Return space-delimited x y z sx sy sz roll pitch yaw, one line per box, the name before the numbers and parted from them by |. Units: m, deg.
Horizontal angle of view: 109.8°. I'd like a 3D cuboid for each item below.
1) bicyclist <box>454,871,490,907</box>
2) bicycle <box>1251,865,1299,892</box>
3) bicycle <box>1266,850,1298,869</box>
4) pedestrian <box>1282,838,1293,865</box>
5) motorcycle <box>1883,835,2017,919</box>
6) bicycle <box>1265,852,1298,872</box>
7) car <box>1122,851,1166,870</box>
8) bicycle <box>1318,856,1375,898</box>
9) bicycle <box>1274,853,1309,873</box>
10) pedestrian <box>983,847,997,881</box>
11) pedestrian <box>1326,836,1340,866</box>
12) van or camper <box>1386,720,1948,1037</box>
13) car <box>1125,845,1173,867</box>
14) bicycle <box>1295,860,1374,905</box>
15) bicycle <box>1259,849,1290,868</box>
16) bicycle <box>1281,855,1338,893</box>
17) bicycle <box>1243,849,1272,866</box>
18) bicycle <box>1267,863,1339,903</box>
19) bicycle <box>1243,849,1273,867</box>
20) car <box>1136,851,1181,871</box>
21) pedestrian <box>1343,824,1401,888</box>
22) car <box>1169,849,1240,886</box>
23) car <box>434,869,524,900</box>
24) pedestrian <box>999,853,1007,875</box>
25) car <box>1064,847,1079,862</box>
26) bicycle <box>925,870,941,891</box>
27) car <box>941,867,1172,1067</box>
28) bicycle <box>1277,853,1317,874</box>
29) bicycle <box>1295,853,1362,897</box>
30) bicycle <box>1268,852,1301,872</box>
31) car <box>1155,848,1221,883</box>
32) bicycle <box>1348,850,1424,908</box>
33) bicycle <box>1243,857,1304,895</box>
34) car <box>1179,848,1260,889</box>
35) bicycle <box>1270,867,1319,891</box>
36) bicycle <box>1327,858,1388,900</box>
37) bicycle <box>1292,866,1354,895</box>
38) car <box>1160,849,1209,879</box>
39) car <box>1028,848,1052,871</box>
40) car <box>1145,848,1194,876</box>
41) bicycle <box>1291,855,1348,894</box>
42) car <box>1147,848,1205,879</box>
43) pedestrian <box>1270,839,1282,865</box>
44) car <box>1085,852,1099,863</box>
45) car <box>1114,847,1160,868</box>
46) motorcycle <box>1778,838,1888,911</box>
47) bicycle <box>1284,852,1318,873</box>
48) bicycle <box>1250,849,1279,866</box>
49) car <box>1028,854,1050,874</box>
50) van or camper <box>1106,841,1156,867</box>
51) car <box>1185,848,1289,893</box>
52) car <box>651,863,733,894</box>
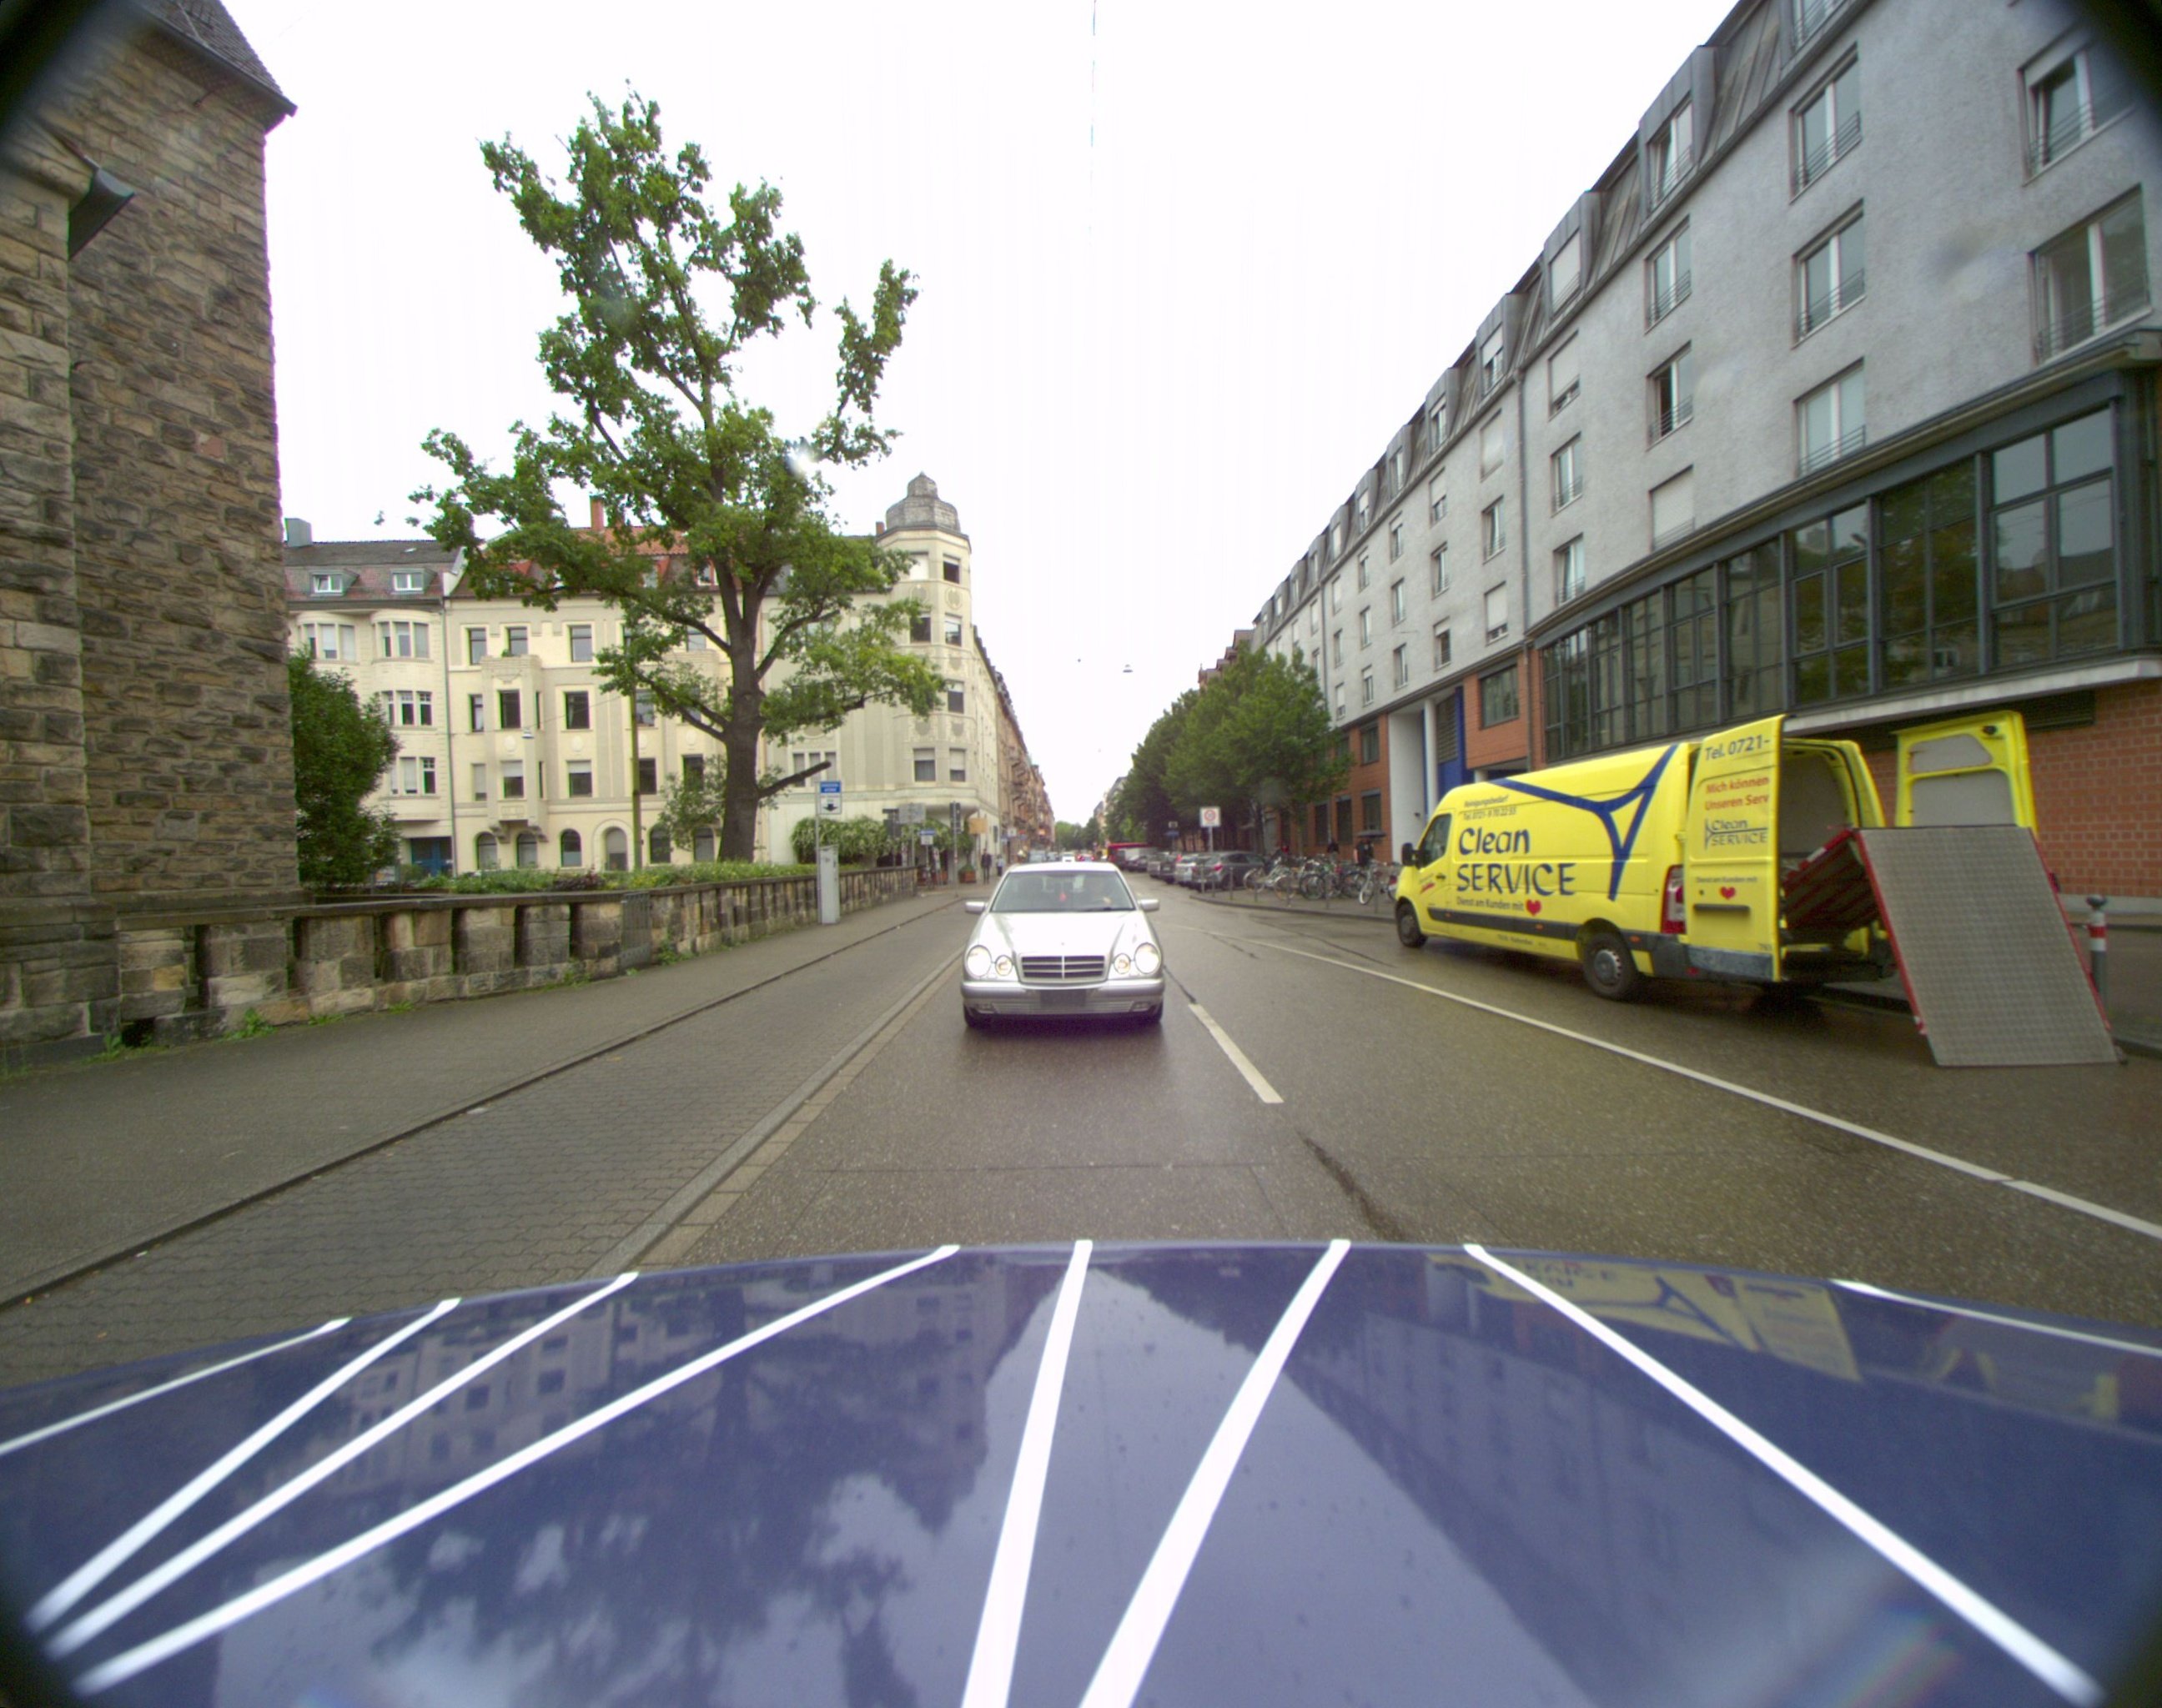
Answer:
bicyclist | -26.979 1.538 33.652 1.133 1.521 0.537 -2 1 3
bicycle | 6.577 0.829 25.758 1.473 0.800 0.497 -3 1 3
bicycle | 10.697 0.276 40.413 1.590 0.979 0.445 -2 1 -8
pedestrian | 12.423 -0.155 45.792 0.514 1.601 0.425 -2 1 1
motorcycle | 13.246 0.312 11.649 0.524 1.174 1.760 -3 0 19
bicycle | 10.487 0.402 39.793 1.590 0.979 0.445 -2 1 -8
car | 5.220 0.539 62.700 1.685 1.482 3.799 0 1 40
bicycle | 7.484 0.649 21.461 1.461 1.096 0.462 -3 1 14
bicycle | 10.494 0.436 37.878 1.590 0.979 0.445 -2 1 -8
pedestrian | -4.989 0.532 41.681 0.646 1.862 0.693 -1 1 0
pedestrian | 13.072 -0.162 39.358 0.516 1.521 0.548 -1 1 -3
van or camper | 6.053 0.191 9.254 2.201 2.596 5.941 -1 0 -1
car | 6.007 0.135 66.930 4.338 1.884 1.685 -1 1 -41
bicycle | 6.721 0.744 20.184 1.858 1.067 0.609 -3 1 5
bicycle | 10.581 0.259 41.577 1.590 0.979 0.465 -2 1 -8
bicycle | 7.265 0.633 24.217 1.610 1.099 0.520 -3 1 -5
bicycle | 10.665 0.185 45.882 1.590 0.979 0.465 -2 1 -8
bicycle | 6.142 0.793 21.021 1.800 0.987 0.520 -3 1 -2
bicycle | 10.228 0.231 43.852 1.590 0.979 0.465 -2 1 -8
car | 6.157 0.507 60.184 1.685 1.482 3.799 0 1 40
pedestrian | 9.166 0.052 23.988 1.228 1.870 1.055 -6 1 0
car | 5.619 0.588 34.365 3.084 1.494 1.449 -3 0 -40
car | -29.418 1.470 37.171 3.270 1.401 1.448 -1 1 3
pedestrian | -5.238 0.694 50.814 0.482 1.452 0.392 -1 1 0
car | -1.329 0.082 107.587 1.998 2.002 4.000 -1 0 1
bicycle | -7.294 1.298 37.448 0.390 0.888 2.023 -1 3 0
car | -0.189 0.921 7.944 1.764 1.420 3.999 -2 0 0
bicycle | 10.622 0.442 37.405 1.851 0.979 0.445 -2 1 -8
bicycle | 7.268 0.600 22.320 1.815 1.187 0.519 -3 1 -13
bicycle | 10.445 0.418 39.001 1.590 0.979 0.445 -2 1 -8
car | 5.259 0.547 37.250 3.084 1.543 1.449 -3 0 -40
bicycle | 7.575 0.593 18.818 1.922 1.209 0.768 -6 3 -35
bicycle | 6.243 0.710 24.693 1.812 1.099 0.472 -3 1 -5
car | 5.809 0.592 31.757 3.083 1.494 1.449 -3 0 -31
bicycle | 7.054 0.824 25.156 1.473 0.717 0.497 -3 1 3
bicycle | 7.511 0.673 20.688 1.462 1.058 0.418 -3 1 4
bicycle | 7.289 0.791 22.912 1.773 0.757 0.456 -3 1 -13
car | 5.550 0.534 40.668 2.506 1.442 1.191 -3 1 -40
car | -3.281 0.409 61.283 1.726 1.794 3.462 -1 0 0
car | 5.352 0.459 45.747 2.685 1.546 1.148 -3 1 -29
bicycle | 7.388 0.624 23.568 1.611 1.099 0.519 -3 1 -13
car | 5.382 0.525 42.990 2.985 1.546 1.369 -3 0 -29
pedestrian | 11.875 -0.113 46.234 0.605 1.601 0.372 -2 1 -1
car | 1.405 0.431 98.292 1.651 1.301 3.311 -1 0 -2
car | 5.221 0.327 70.443 4.338 1.822 1.571 -1 1 -41
motorcycle | 13.077 0.316 13.283 0.524 1.174 2.006 -3 0 19
bicycle | 11.118 0.417 38.422 1.590 0.979 0.445 -2 1 -8
bicycle | 10.814 0.204 44.747 1.590 0.979 0.465 -2 1 -8
car | -3.112 0.720 56.214 1.447 1.348 3.204 -1 0 0
van or camper | 5.061 -0.014 76.390 4.604 2.597 1.999 -1 1 -27
car | 5.932 0.588 28.830 3.629 1.494 1.736 -3 1 -31
car | -19.202 1.194 37.570 3.270 1.401 1.448 -1 1 3
